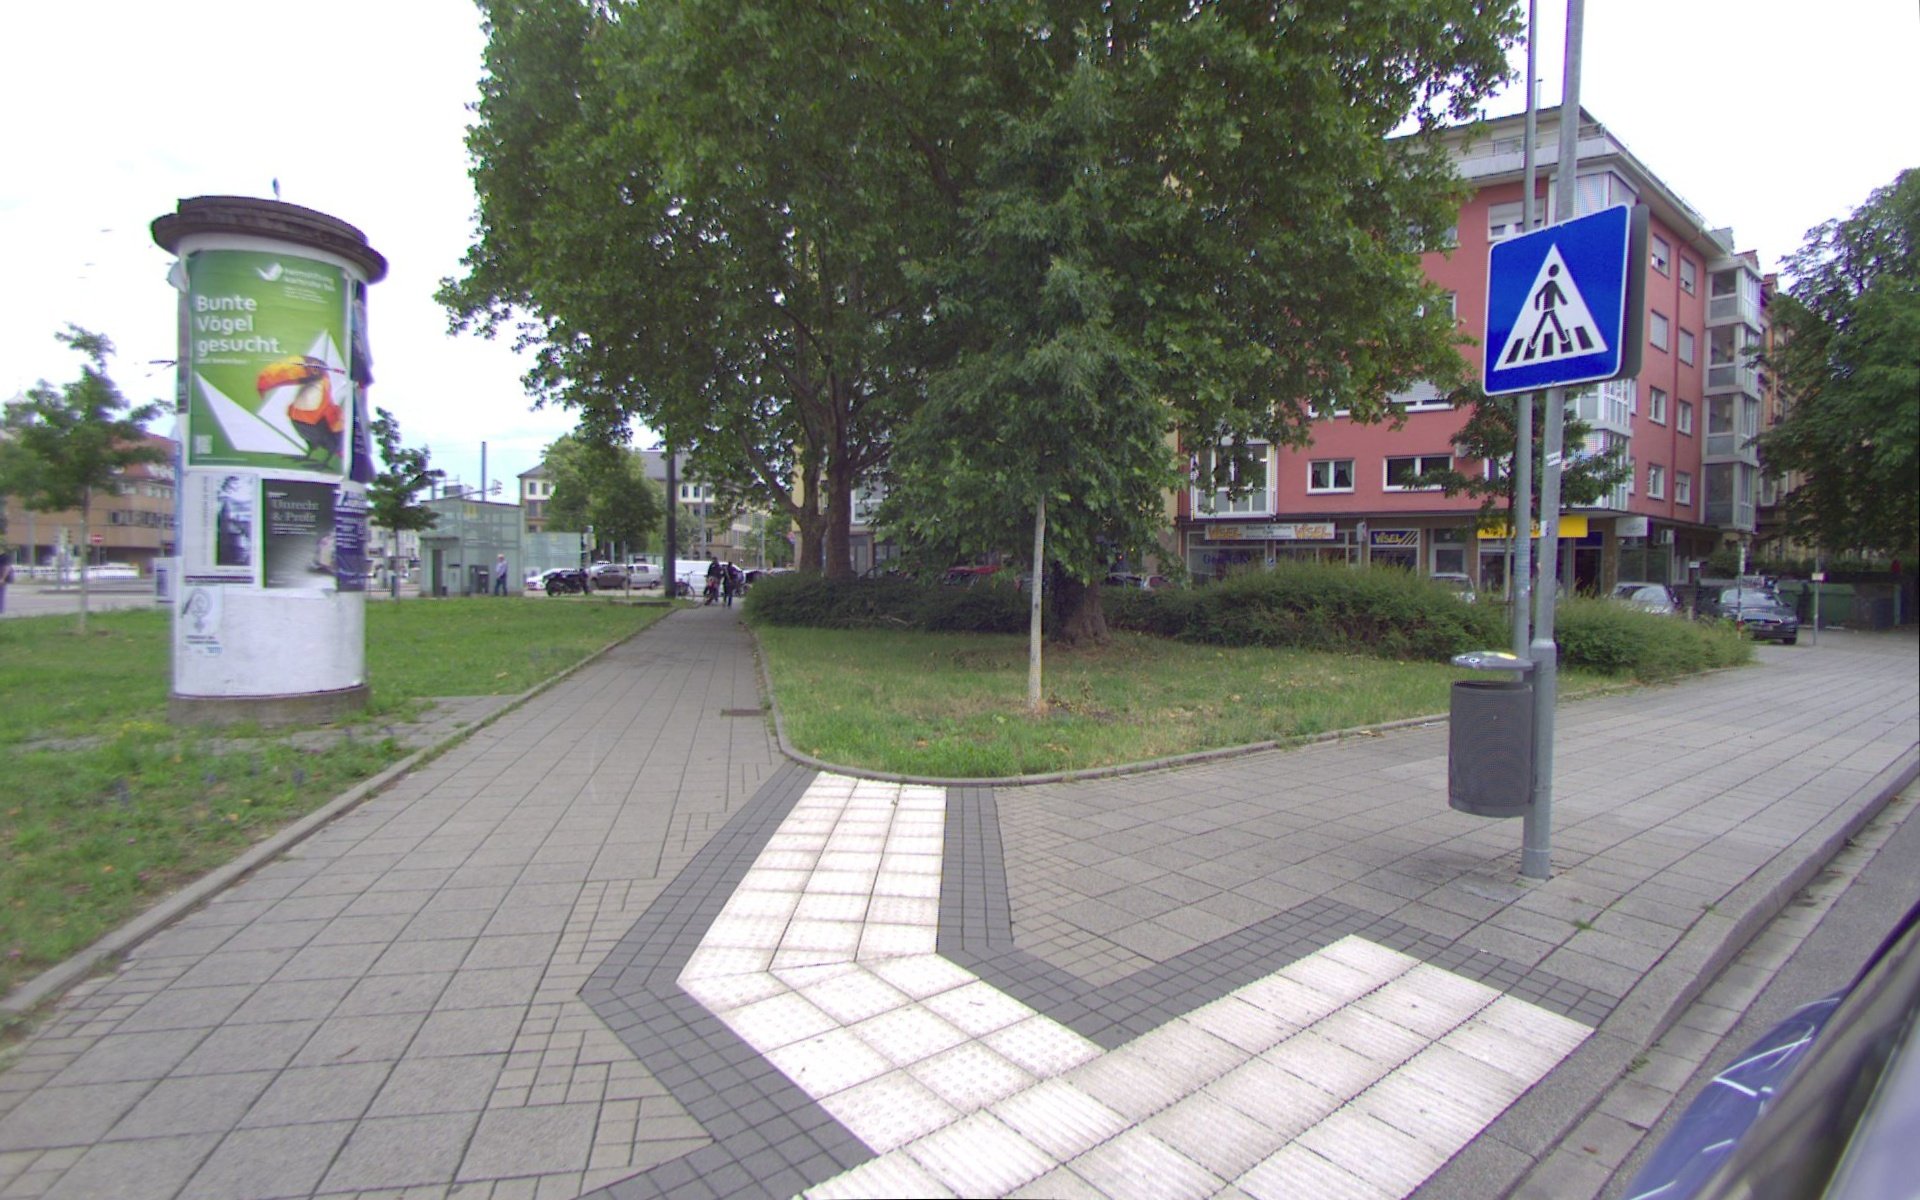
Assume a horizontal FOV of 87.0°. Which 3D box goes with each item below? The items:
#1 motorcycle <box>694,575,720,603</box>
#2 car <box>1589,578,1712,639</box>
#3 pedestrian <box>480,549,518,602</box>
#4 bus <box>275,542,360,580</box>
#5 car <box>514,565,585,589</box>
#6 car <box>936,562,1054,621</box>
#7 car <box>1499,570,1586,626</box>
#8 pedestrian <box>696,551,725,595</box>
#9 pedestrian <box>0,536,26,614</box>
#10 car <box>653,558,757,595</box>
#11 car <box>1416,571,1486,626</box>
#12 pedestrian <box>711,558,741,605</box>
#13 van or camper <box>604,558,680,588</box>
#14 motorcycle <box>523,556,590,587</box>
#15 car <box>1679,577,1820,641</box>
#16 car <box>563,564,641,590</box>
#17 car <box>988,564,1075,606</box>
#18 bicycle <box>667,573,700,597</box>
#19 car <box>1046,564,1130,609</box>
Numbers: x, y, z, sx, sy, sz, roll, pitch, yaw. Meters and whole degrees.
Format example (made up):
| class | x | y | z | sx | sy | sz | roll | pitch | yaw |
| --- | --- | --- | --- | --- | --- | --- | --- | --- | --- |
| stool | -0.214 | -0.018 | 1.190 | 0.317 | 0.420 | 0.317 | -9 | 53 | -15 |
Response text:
| class | x | y | z | sx | sy | sz | roll | pitch | yaw |
| --- | --- | --- | --- | --- | --- | --- | --- | --- | --- |
| motorcycle | -9.555 | -0.421 | 38.228 | 0.855 | 1.010 | 1.017 | 1 | 1 | -18 |
| car | 20.152 | 0.170 | 29.761 | 1.837 | 1.567 | 4.449 | 1 | 2 | 19 |
| pedestrian | -17.614 | -0.935 | 38.670 | 0.876 | 1.954 | 1.013 | 1 | 1 | 14 |
| bus | -57.631 | -3.478 | 91.139 | 2.908 | 3.162 | 11.564 | 0 | 1 | -14 |
| car | -26.269 | -1.430 | 64.890 | 1.760 | 1.482 | 3.957 | 0 | 0 | 31 |
| car | 1.111 | -0.283 | 29.575 | 1.842 | 1.567 | 4.436 | 1 | 1 | 26 |
| car | 17.640 | -0.098 | 30.820 | 1.841 | 1.567 | 4.439 | 1 | 1 | 24 |
| pedestrian | -10.253 | -1.101 | 41.618 | 0.929 | 1.820 | 1.087 | 0 | 0 | 2 |
| pedestrian | -23.126 | -0.608 | 24.436 | 0.526 | 1.867 | 0.989 | 0 | 1 | -23 |
| car | -14.415 | -1.332 | 57.478 | 5.619 | 2.039 | 2.031 | 0 | 0 | -10 |
| car | 15.371 | -0.096 | 31.871 | 1.841 | 1.567 | 4.439 | 1 | 1 | 24 |
| pedestrian | -8.432 | -0.674 | 36.404 | 0.632 | 1.658 | 0.863 | 1 | 1 | 29 |
| van or camper | -22.520 | -1.847 | 71.871 | 2.176 | 2.039 | 5.101 | 0 | 0 | 31 |
| motorcycle | -15.730 | -1.096 | 39.534 | 0.764 | 1.183 | 2.351 | 2 | 1 | 41 |
| car | 21.976 | 0.179 | 28.385 | 1.838 | 1.567 | 4.446 | 1 | 2 | 21 |
| car | -22.611 | -1.421 | 64.082 | 1.849 | 1.567 | 4.420 | 0 | 1 | 35 |
| car | 2.845 | -0.579 | 39.222 | 1.842 | 1.508 | 4.436 | 1 | 1 | 26 |
| bicycle | -11.043 | -0.592 | 40.384 | 1.255 | 0.928 | 0.588 | 2 | 1 | 32 |
| car | 4.895 | -0.523 | 38.251 | 1.842 | 1.567 | 4.436 | 1 | 1 | 26 |
